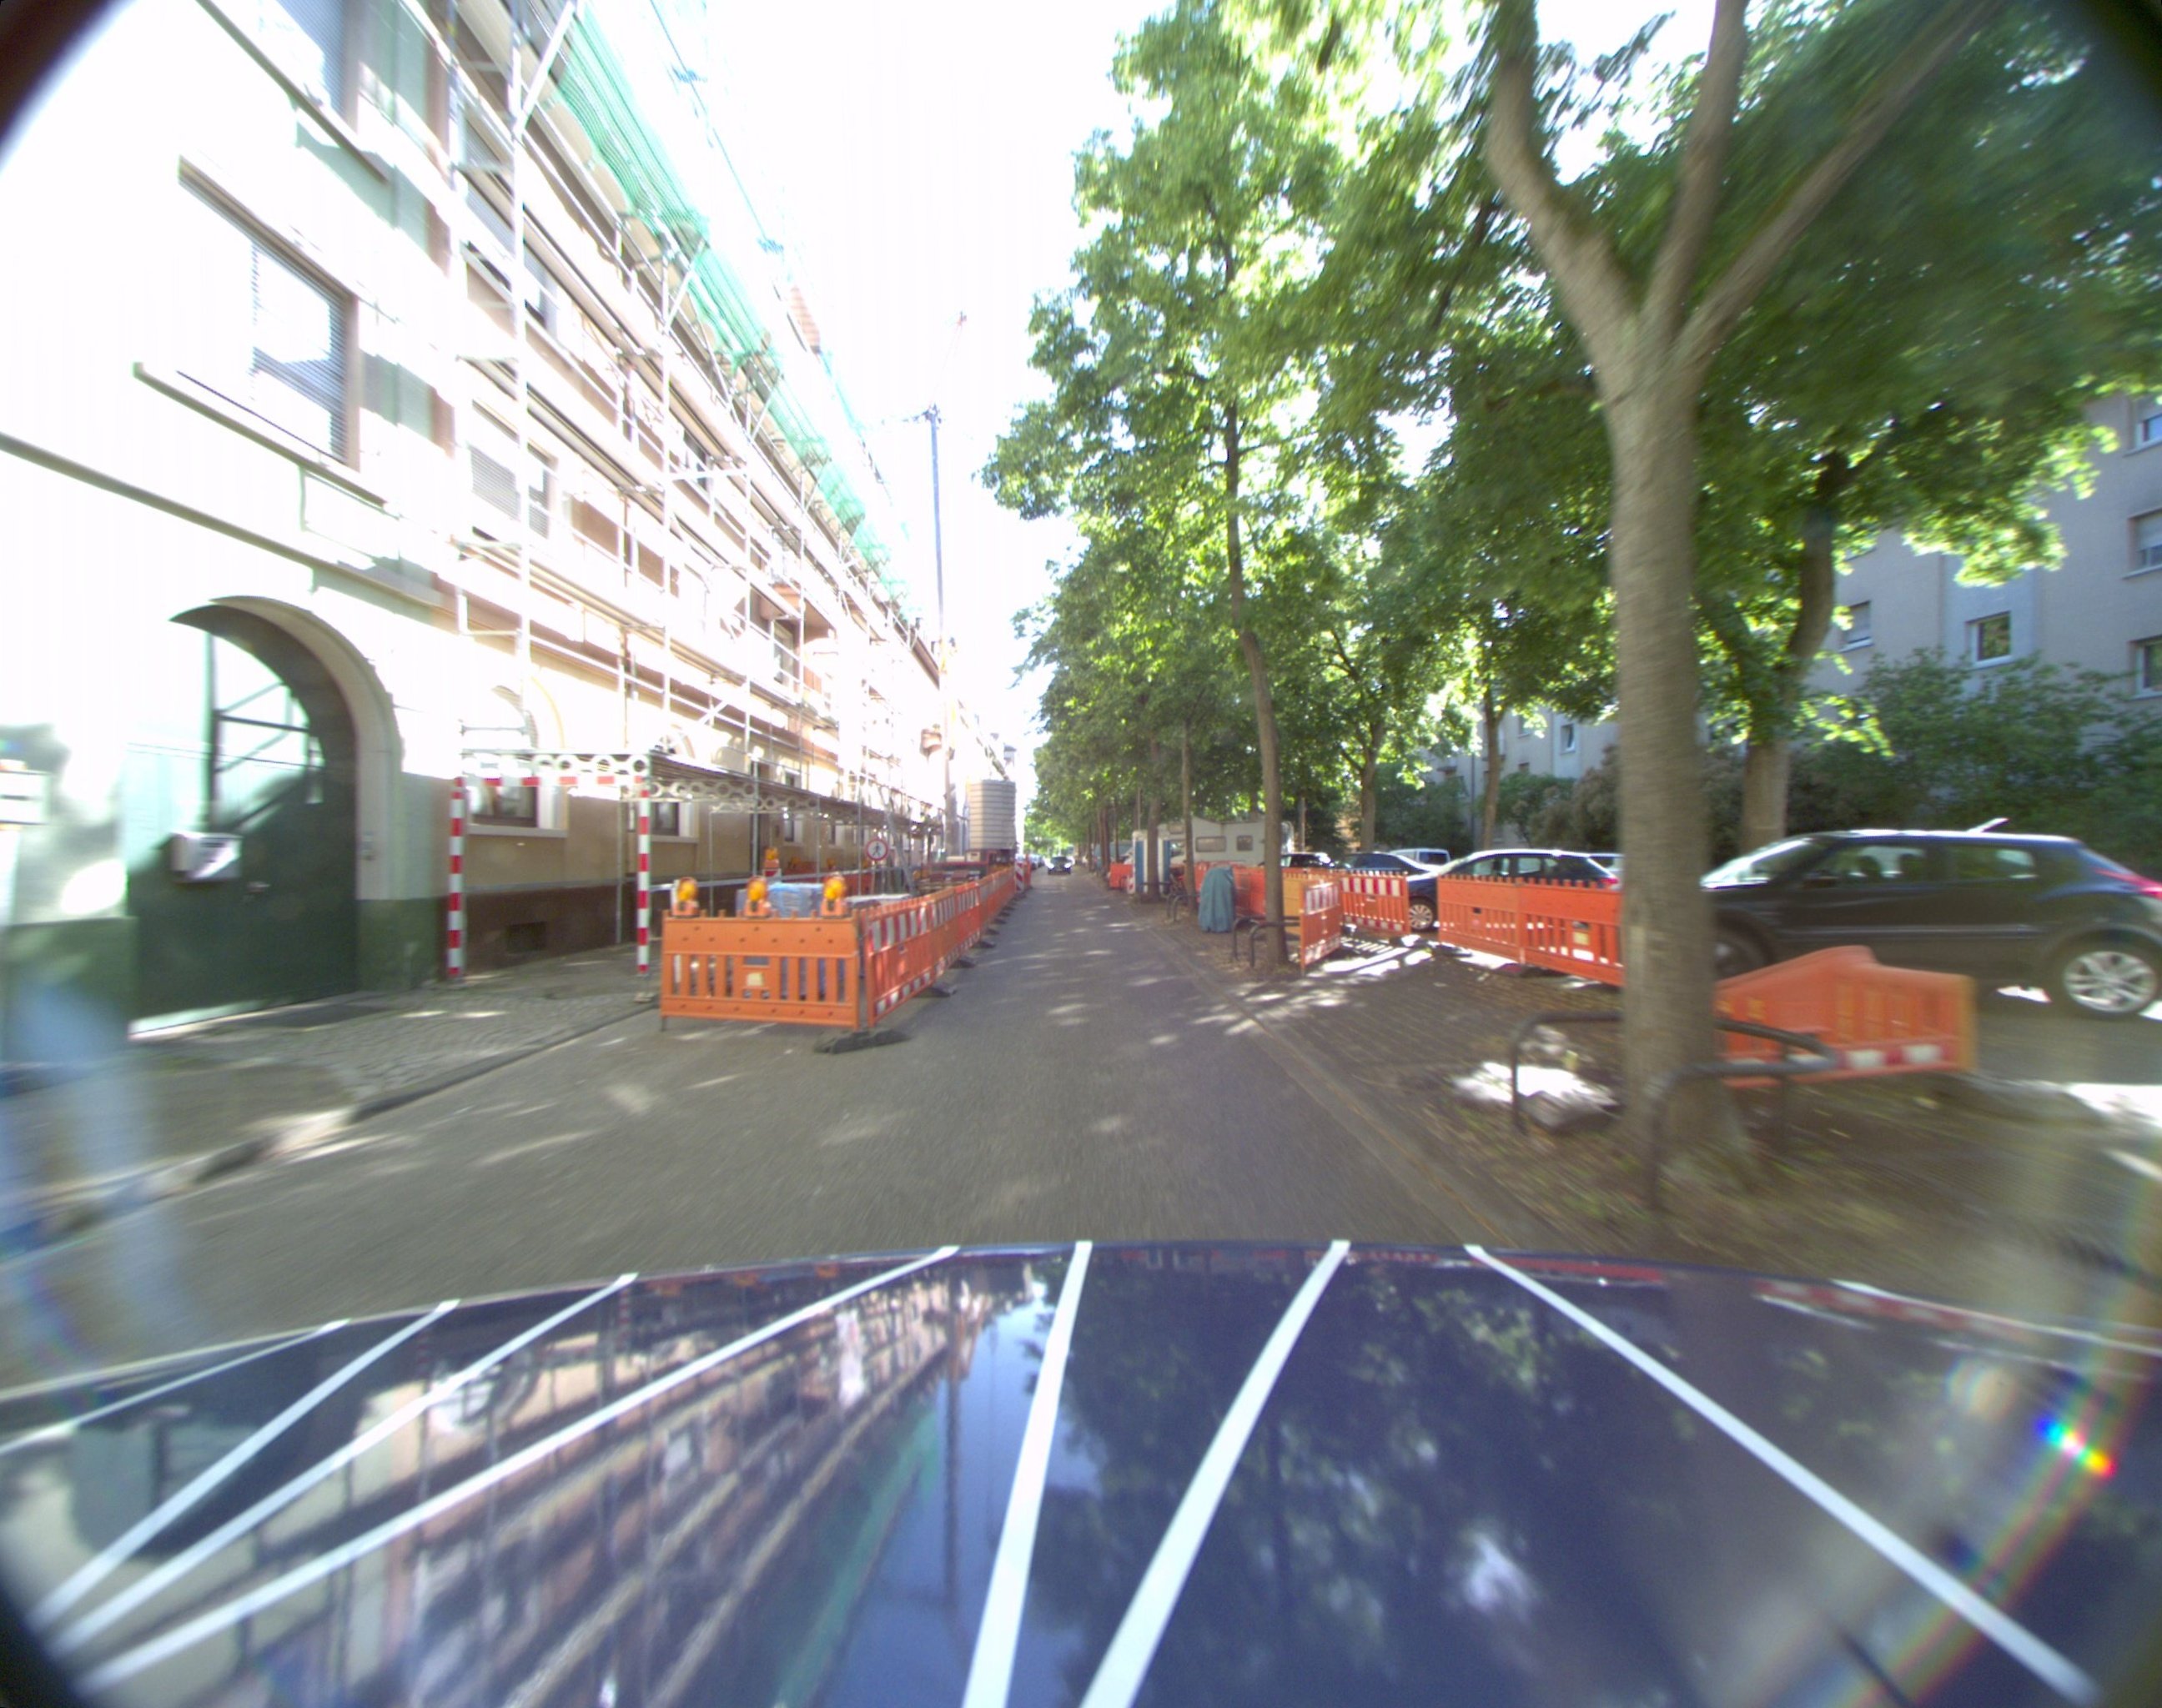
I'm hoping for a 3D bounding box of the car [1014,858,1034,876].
[{"bbox_3d":[-4.953,1.111,66.520,1.578,1.428,3.606,0,0,-3],"label":"car"}]

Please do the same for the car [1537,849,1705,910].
[{"bbox_3d":[14.953,0.637,21.358,1.724,1.550,4.112,0,0,-1],"label":"car"}]

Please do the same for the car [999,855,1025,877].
[{"bbox_3d":[-4.634,0.776,51.000,1.672,1.419,3.970,0,0,-5],"label":"car"}]

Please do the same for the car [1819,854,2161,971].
[{"bbox_3d":[15.074,0.801,12.579,1.625,1.565,4.193,-1,0,0],"label":"car"}]

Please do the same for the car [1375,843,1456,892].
[{"bbox_3d":[14.478,0.538,33.166,1.625,2.002,4.266,-1,0,0],"label":"car"}]

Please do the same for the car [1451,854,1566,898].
[{"bbox_3d":[15.082,0.710,27.074,1.724,1.434,4.126,0,0,-1],"label":"car"}]

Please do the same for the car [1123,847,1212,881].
[{"bbox_3d":[4.304,0.490,37.810,3.990,1.607,1.800,0,0,24],"label":"car"}]

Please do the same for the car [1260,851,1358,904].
[{"bbox_3d":[7.875,0.768,26.316,2.984,1.707,1.425,0,1,30],"label":"car"}]

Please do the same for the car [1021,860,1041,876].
[{"bbox_3d":[-5.010,1.386,76.011,1.864,1.584,3.999,0,0,-2],"label":"car"}]

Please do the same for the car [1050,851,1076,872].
[{"bbox_3d":[-1.358,0.584,59.781,1.792,1.510,4.000,-4,0,1],"label":"car"}]

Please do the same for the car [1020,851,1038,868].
[{"bbox_3d":[-5.546,0.554,81.674,1.864,1.772,3.999,0,0,-2],"label":"car"}]

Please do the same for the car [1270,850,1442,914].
[{"bbox_3d":[7.230,0.673,20.102,3.988,1.510,1.674,1,1,32],"label":"car"}]

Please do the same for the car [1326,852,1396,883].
[{"bbox_3d":[14.301,0.665,39.043,1.999,1.477,3.999,0,0,-1],"label":"car"}]

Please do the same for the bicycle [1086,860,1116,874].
[{"bbox_3d":[1.440,0.906,54.553,2.150,0.964,0.609,0,1,5],"label":"bicycle"}]

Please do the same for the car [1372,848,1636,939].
[{"bbox_3d":[7.320,0.628,13.576,3.904,1.452,1.580,0,1,19],"label":"car"}]

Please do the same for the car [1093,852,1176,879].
[{"bbox_3d":[3.099,0.636,44.325,4.512,1.474,1.741,0,0,28],"label":"car"}]

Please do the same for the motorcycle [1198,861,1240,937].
[{"bbox_3d":[2.722,0.832,14.789,0.631,1.317,2.231,-2,1,14],"label":"motorcycle"}]

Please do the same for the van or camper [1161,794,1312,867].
[{"bbox_3d":[6.777,-0.979,33.305,6.017,2.984,2.404,0,0,27],"label":"van or camper"}]

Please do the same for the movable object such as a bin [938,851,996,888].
[{"bbox_3d":[-4.920,0.656,32.866,1.872,1.518,1.631,1,0,33],"label":"movable object such as a bin"}]

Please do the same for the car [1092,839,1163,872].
[{"bbox_3d":[3.129,0.083,51.259,4.387,2.155,1.774,0,0,26],"label":"car"}]

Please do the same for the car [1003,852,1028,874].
[{"bbox_3d":[-4.794,0.647,56.057,1.671,1.590,4.272,0,0,-3],"label":"car"}]

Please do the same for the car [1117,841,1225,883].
[{"bbox_3d":[5.524,0.445,46.907,6.186,2.497,2.142,0,0,26],"label":"car"}]

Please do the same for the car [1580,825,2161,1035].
[{"bbox_3d":[7.325,0.573,7.145,4.123,1.616,1.701,1,1,21],"label":"car"}]

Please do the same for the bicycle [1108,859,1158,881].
[{"bbox_3d":[2.516,0.787,36.649,2.379,0.972,0.502,-2,-1,7],"label":"bicycle"}]

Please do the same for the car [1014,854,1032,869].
[{"bbox_3d":[-5.493,0.687,71.758,1.578,1.446,3.402,0,0,-3],"label":"car"}]

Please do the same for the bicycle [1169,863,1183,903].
[{"bbox_3d":[2.907,0.868,23.297,0.281,1.149,1.551,0,0,3],"label":"bicycle"}]
